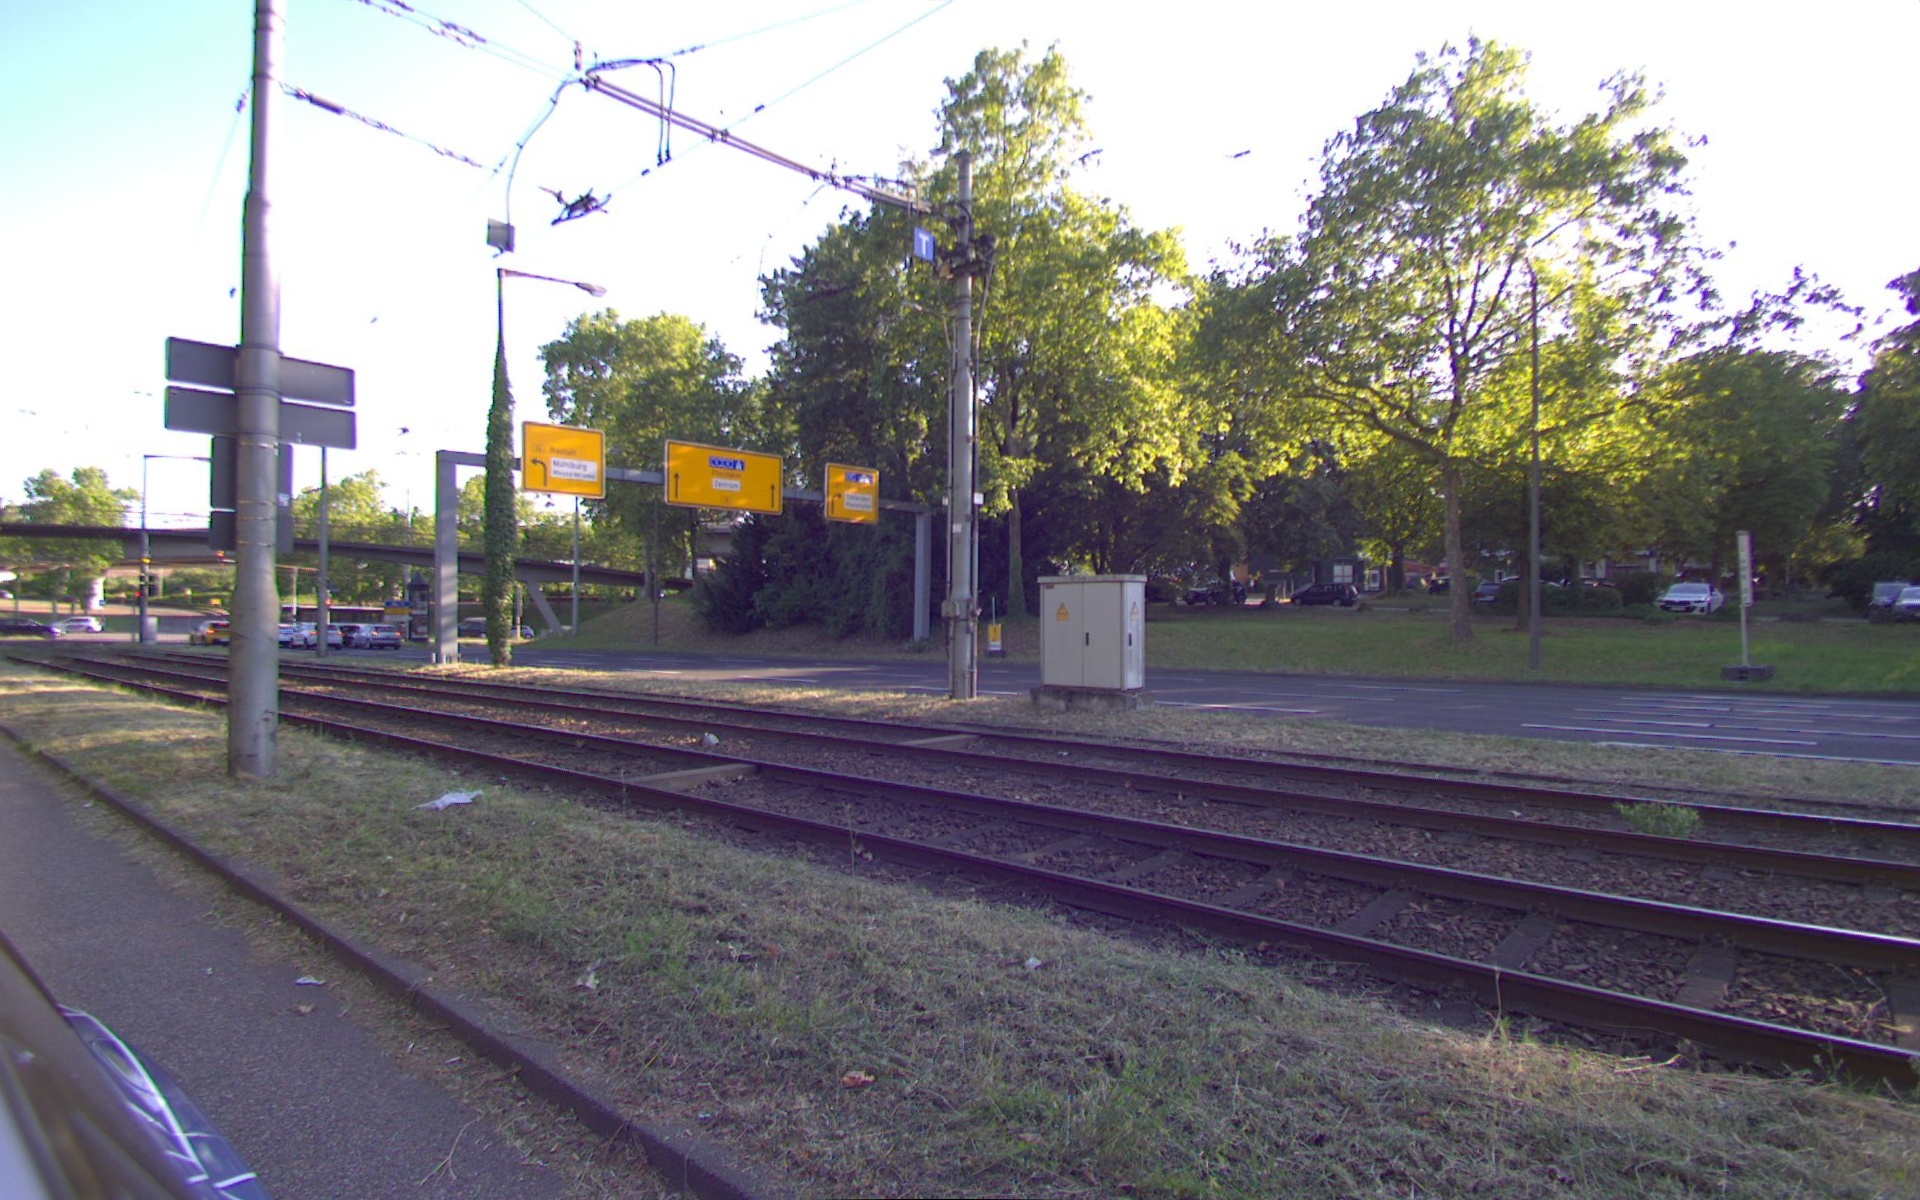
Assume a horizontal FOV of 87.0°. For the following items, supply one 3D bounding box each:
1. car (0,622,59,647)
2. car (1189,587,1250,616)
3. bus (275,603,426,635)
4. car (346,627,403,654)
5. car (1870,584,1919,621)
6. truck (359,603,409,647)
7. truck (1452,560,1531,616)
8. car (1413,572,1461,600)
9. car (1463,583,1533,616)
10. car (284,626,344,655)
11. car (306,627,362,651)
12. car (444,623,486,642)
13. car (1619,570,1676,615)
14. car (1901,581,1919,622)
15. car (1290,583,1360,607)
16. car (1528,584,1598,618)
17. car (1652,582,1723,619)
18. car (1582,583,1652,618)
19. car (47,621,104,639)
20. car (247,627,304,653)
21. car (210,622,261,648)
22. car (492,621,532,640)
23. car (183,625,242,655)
[{"bbox_3d":[-66.534,2.440,71.618,3.934,1.668,1.789,-1,0,-36],"label":"car"},{"bbox_3d":[15.388,0.061,59.962,1.791,1.657,3.942,-1,-1,44],"label":"car"},{"bbox_3d":[-61.633,1.869,102.847,12.965,2.884,2.425,-1,0,-26],"label":"bus"},{"bbox_3d":[-34.961,2.382,60.409,3.998,1.556,1.789,-1,-1,41],"label":"car"},{"bbox_3d":[43.962,0.088,47.232,3.998,1.628,1.864,-1,0,-43],"label":"car"},{"bbox_3d":[-40.310,1.752,70.770,2.248,2.901,6.895,0,-1,-37],"label":"truck"},{"bbox_3d":[31.736,-0.693,60.290,2.503,3.191,6.137,0,0,45],"label":"truck"},{"bbox_3d":[33.549,-0.999,71.067,2.290,1.864,5.214,-1,1,34],"label":"car"},{"bbox_3d":[26.163,-0.047,49.191,1.942,1.521,4.039,0,0,44],"label":"car"},{"bbox_3d":[-35.747,2.214,55.959,3.997,1.556,1.744,-1,-1,40],"label":"car"},{"bbox_3d":[-39.769,2.442,64.231,4.224,1.435,1.844,-1,-1,40],"label":"car"},{"bbox_3d":[-50.812,3.313,103.934,3.748,1.872,1.682,-1,0,-30],"label":"car"},{"bbox_3d":[36.879,-0.406,54.245,2.161,2.320,4.348,0,0,40],"label":"car"},{"bbox_3d":[37.574,0.030,38.899,1.942,1.521,4.039,0,0,44],"label":"car"},{"bbox_3d":[22.289,-0.316,61.858,3.726,1.474,1.650,1,1,44],"label":"car"},{"bbox_3d":[28.419,0.012,47.663,1.942,1.521,4.039,0,0,44],"label":"car"},{"bbox_3d":[31.555,-0.002,43.850,1.942,1.521,4.039,0,0,44],"label":"car"},{"bbox_3d":[30.028,0.003,46.226,1.942,1.521,4.039,0,0,44],"label":"car"},{"bbox_3d":[-80.651,2.757,92.334,3.593,1.523,1.668,-1,0,-29],"label":"car"},{"bbox_3d":[-40.581,2.332,59.957,4.226,1.435,1.893,-1,-1,42],"label":"car"},{"bbox_3d":[-45.845,2.195,64.046,4.228,1.561,1.892,-1,-2,44],"label":"car"},{"bbox_3d":[-48.463,3.265,109.505,3.832,1.872,1.682,-1,0,-30],"label":"car"},{"bbox_3d":[-40.810,2.134,55.258,3.997,1.556,1.744,-1,-1,40],"label":"car"}]
